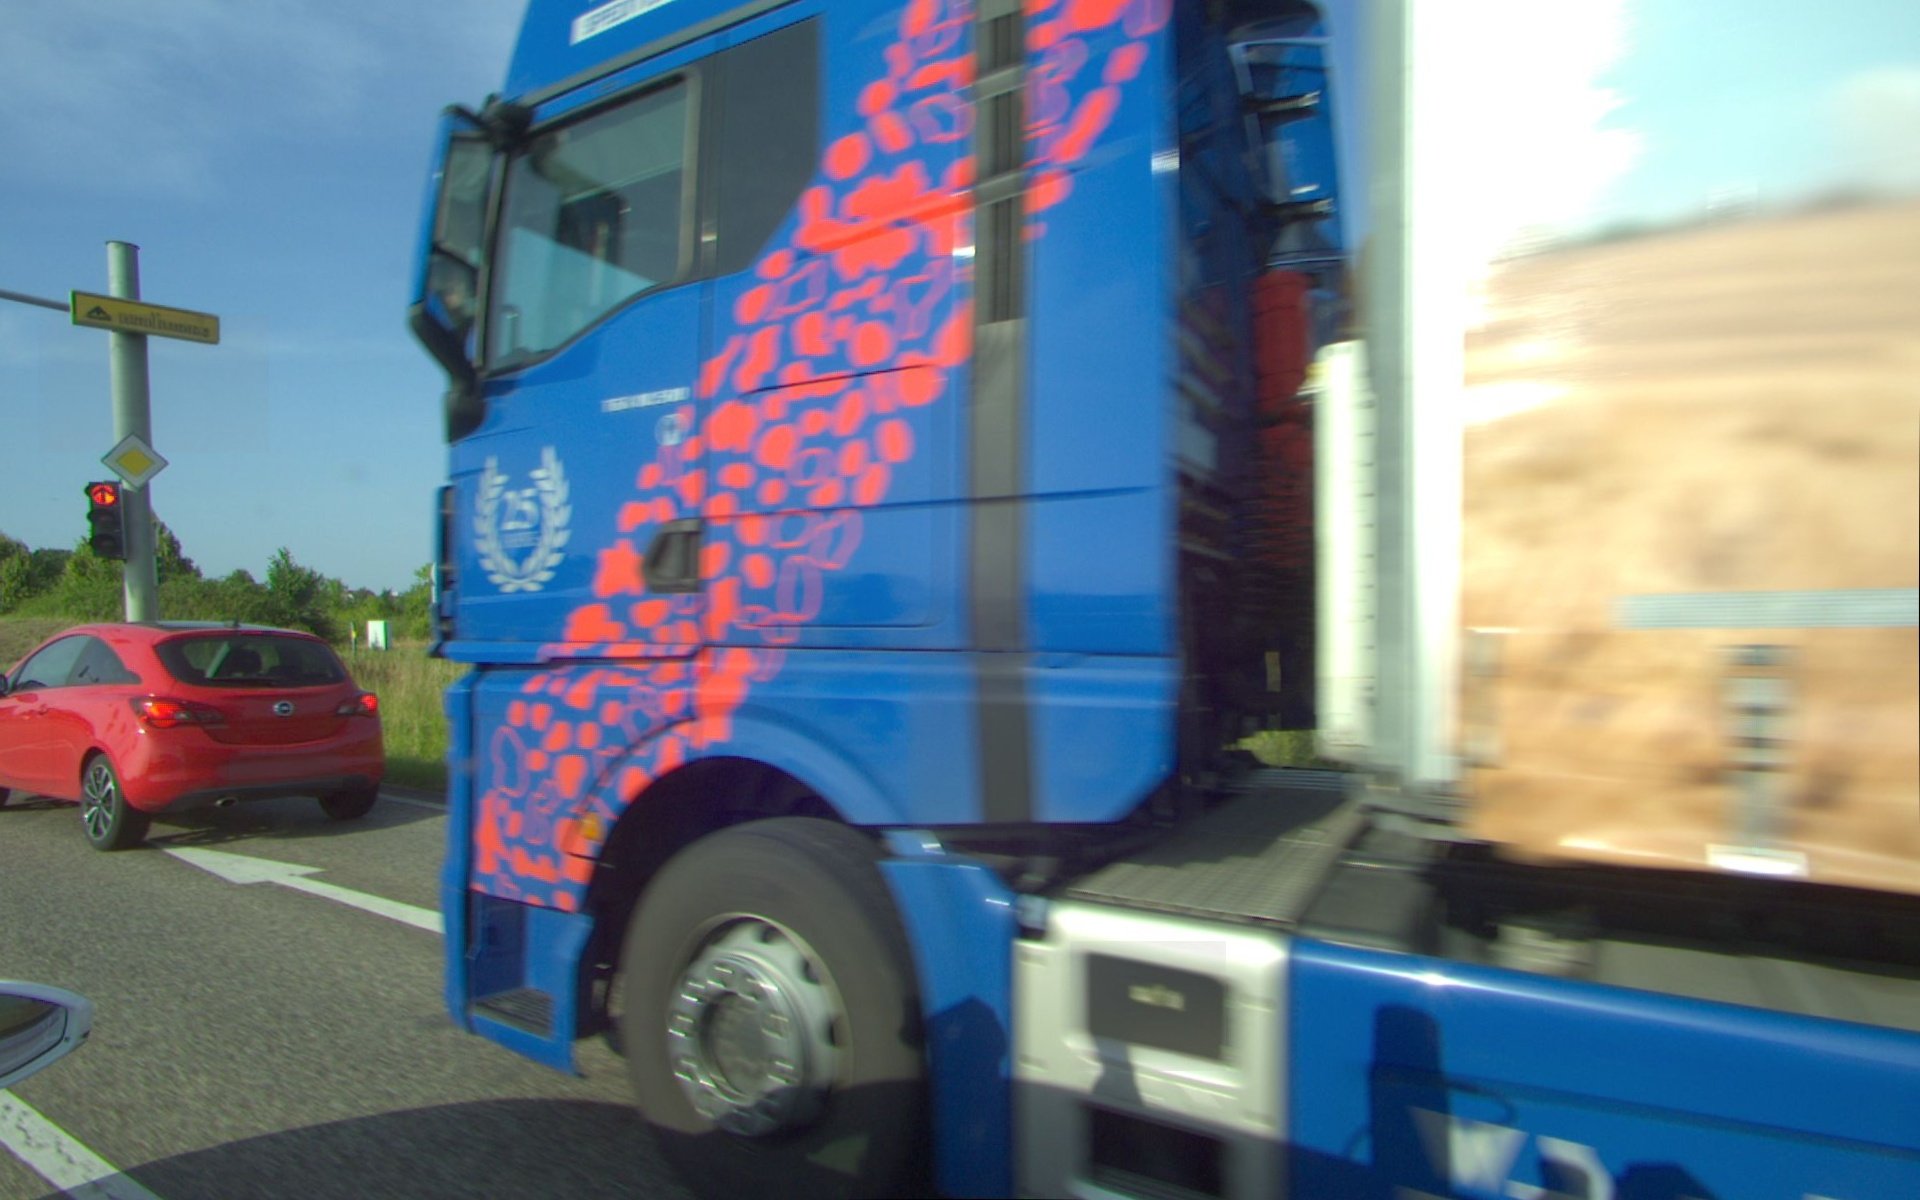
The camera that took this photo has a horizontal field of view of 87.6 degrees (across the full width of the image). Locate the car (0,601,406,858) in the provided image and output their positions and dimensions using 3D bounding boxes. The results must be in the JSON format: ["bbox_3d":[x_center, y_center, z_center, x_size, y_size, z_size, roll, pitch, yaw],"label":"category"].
[{"bbox_3d":[-6.206,0.812,7.779,3.694,1.569,1.694,0,0,30],"label":"car"}]

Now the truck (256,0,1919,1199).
[{"bbox_3d":[1.023,-0.803,3.209,5.646,4.717,3.297,-1,-1,30],"label":"truck"}]
